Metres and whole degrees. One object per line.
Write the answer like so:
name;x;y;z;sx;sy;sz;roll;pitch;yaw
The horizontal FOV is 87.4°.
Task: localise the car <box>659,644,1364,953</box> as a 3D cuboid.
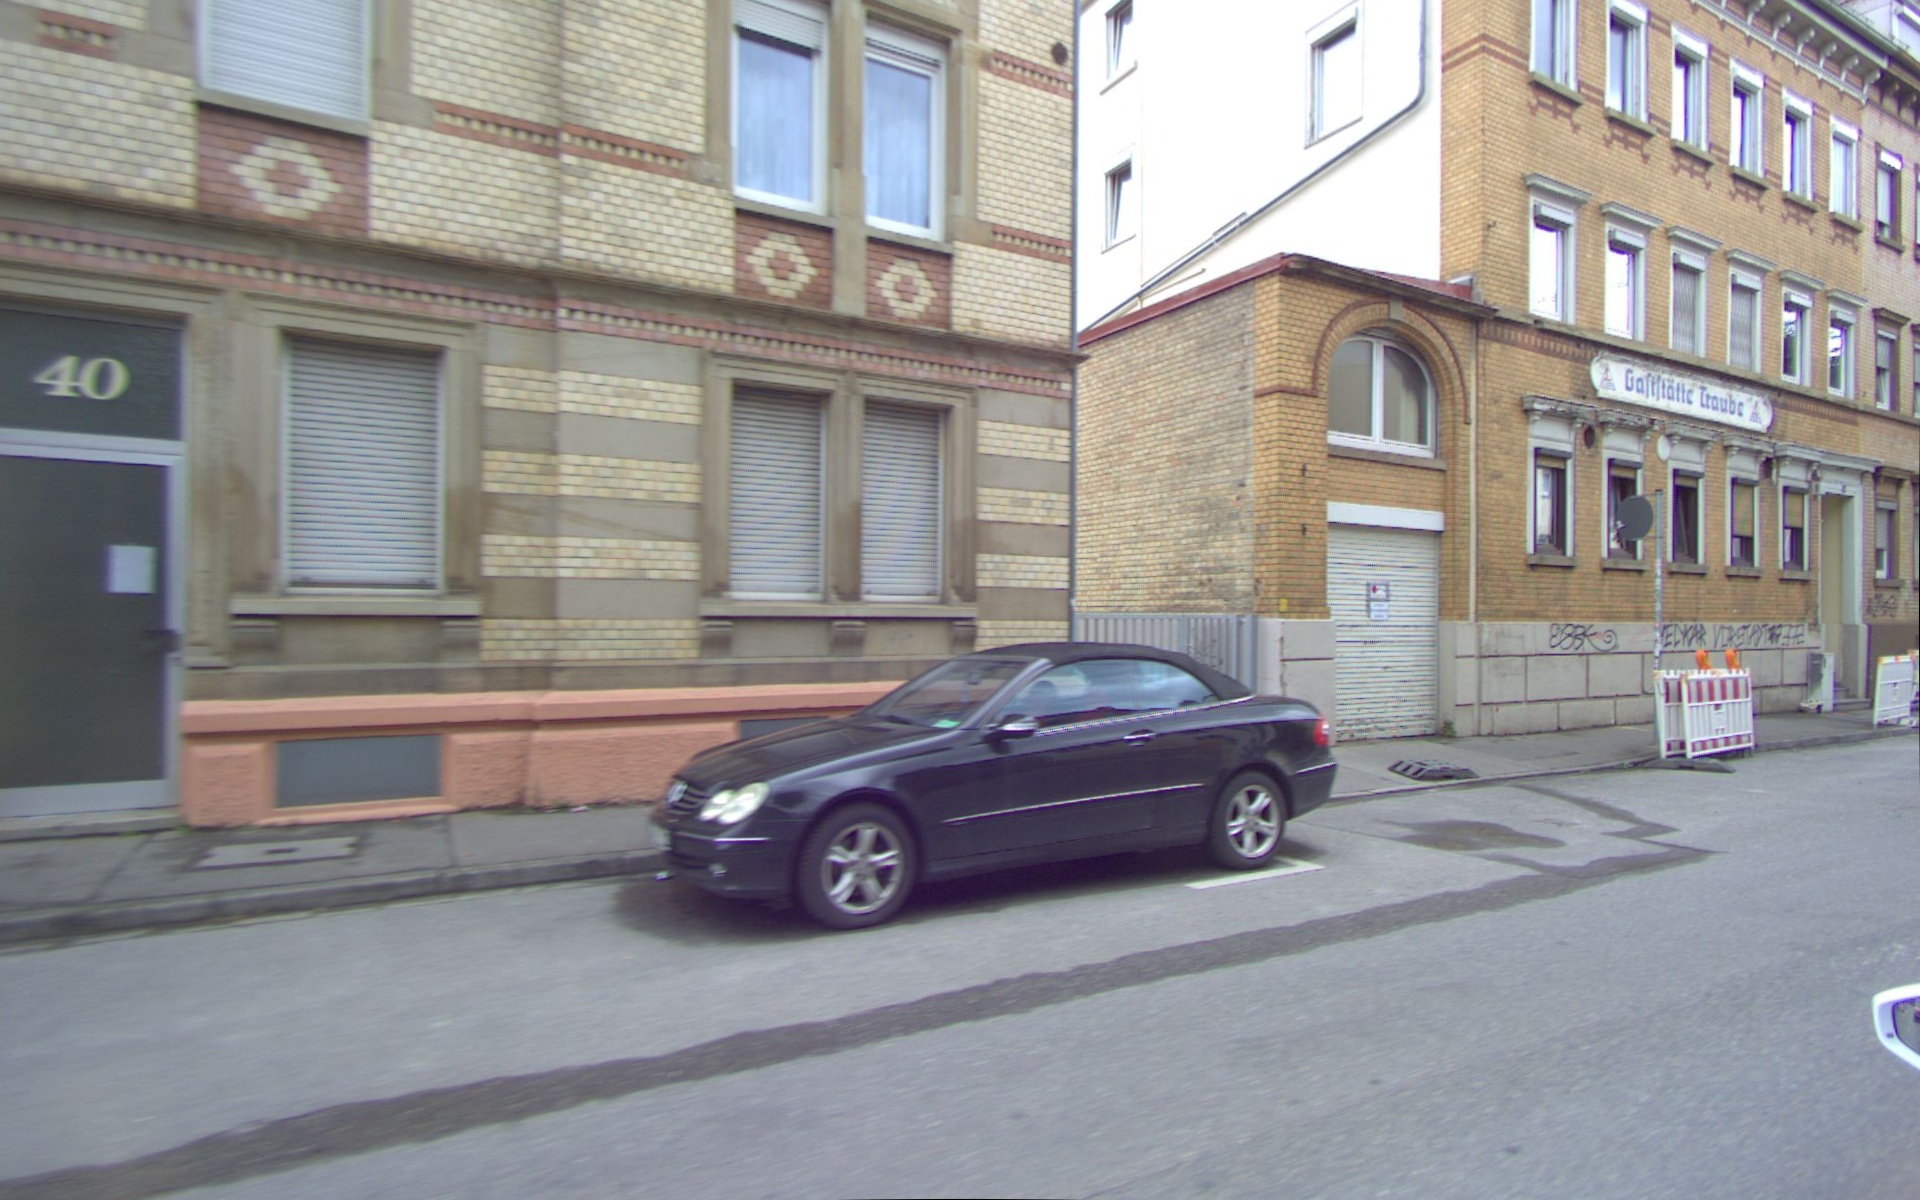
car;0.454;0.985;6.365;4.301;1.401;1.572;1;-2;-29
